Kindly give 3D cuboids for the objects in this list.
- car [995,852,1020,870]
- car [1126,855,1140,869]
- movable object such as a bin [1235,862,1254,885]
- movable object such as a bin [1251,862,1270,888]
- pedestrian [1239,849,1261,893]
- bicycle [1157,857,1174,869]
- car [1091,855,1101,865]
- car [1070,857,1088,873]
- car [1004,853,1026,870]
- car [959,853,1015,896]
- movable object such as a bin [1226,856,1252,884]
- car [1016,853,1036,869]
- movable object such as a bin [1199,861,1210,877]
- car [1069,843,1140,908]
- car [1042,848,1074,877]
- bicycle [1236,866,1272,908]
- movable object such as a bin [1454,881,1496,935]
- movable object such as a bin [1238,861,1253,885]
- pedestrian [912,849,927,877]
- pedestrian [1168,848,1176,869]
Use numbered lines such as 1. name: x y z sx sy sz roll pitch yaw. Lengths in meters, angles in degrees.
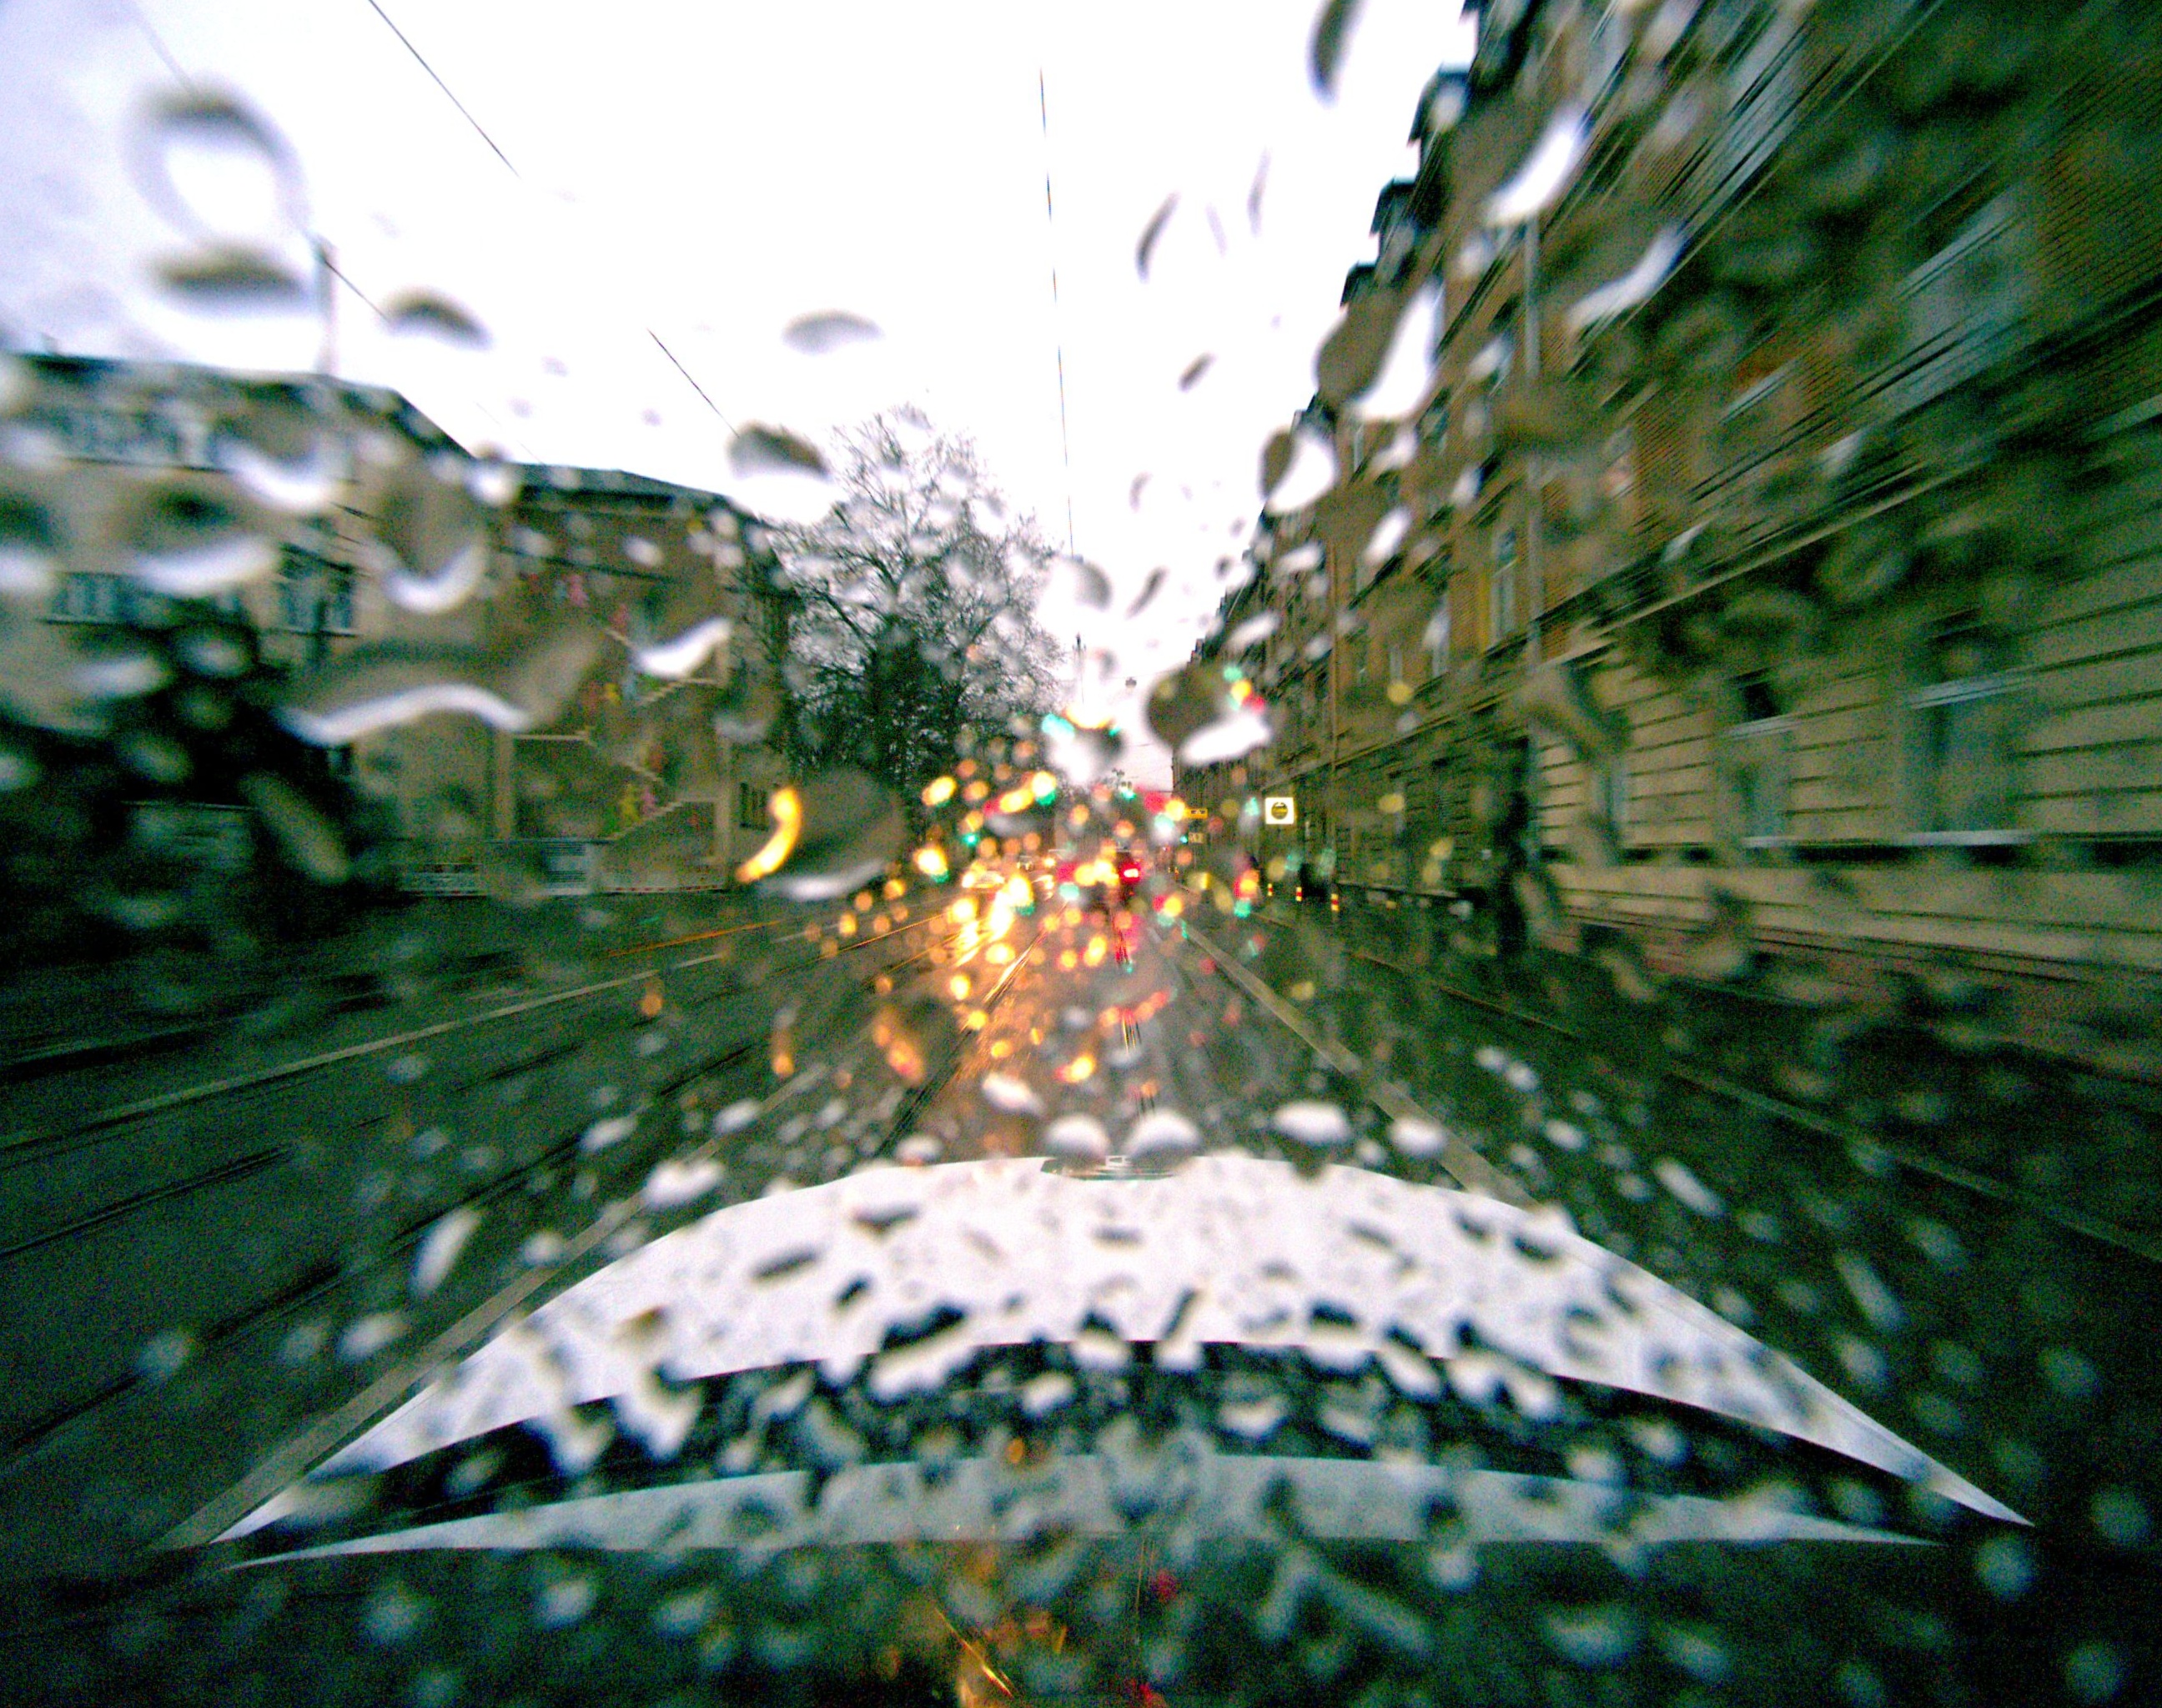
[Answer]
1. car: -6.696 0.652 74.642 1.979 1.615 4.425 0 -1 -2
2. car: 7.271 1.084 113.690 1.984 1.842 4.005 0 0 4
3. movable object such as a bin: 7.453 0.882 37.068 0.759 1.038 0.602 -1 0 16
4. movable object such as a bin: 7.412 0.859 33.654 0.614 1.080 0.487 -1 0 -27
5. pedestrian: 6.602 0.660 31.912 0.829 1.701 0.956 0 -1 10
6. bicycle: 8.031 0.865 77.549 0.795 1.144 2.230 0 -1 -17
7. car: 3.142 1.180 165.215 1.986 2.014 4.001 0 -1 2
8. car: -0.209 1.417 104.620 1.985 2.014 4.004 0 -1 4
9. car: -6.418 0.700 79.459 1.979 1.615 4.425 0 -1 -2
10. car: -3.404 0.703 30.145 1.524 1.481 3.563 -1 0 2
11. movable object such as a bin: 7.402 0.740 38.134 0.886 1.288 1.260 -1 0 -5
12. car: -5.800 0.766 85.996 1.979 1.615 4.425 0 -1 -2
13. movable object such as a bin: 7.992 0.985 52.882 0.638 1.055 0.744 0 -1 1
14. car: 0.805 0.618 25.192 1.984 1.842 4.005 0 0 4
15. car: -1.954 0.754 71.778 2.437 2.347 5.847 -1 -1 2
16. bicycle: 5.101 0.952 24.178 0.681 1.156 2.189 0 -1 2
17. movable object such as a bin: 7.027 0.948 14.534 0.505 0.931 0.507 0 0 0
18. movable object such as a bin: 7.368 0.852 36.404 0.606 1.082 0.602 -1 0 17
19. pedestrian: -10.348 0.584 52.289 0.818 1.815 1.008 0 -1 -4
20. pedestrian: 8.674 0.453 77.748 0.713 1.953 0.657 0 -1 2
